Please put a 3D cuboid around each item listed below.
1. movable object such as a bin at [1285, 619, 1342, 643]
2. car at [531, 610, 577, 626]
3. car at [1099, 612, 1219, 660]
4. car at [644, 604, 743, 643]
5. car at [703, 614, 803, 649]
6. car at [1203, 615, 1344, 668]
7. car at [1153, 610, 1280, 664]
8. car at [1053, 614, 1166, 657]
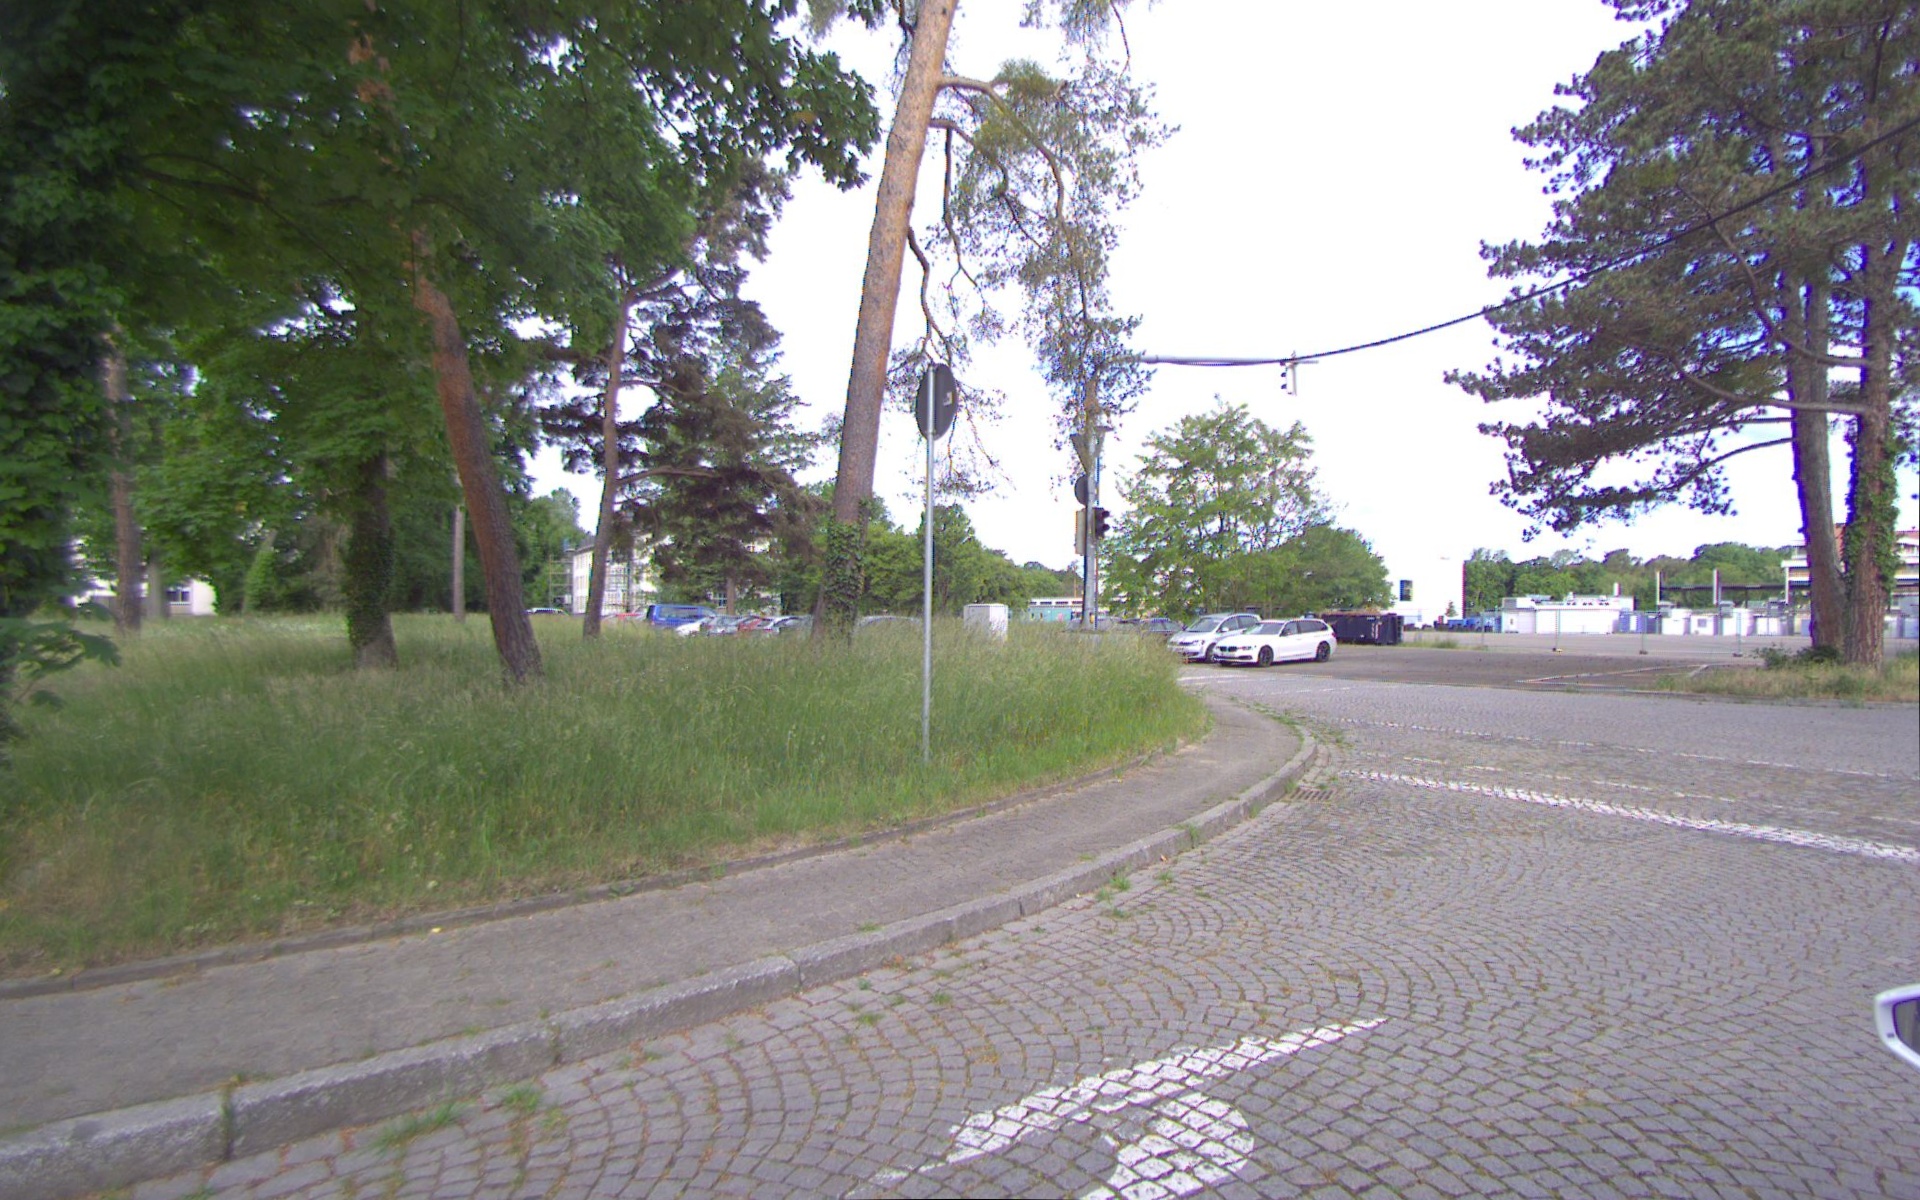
[{"bbox_3d":[16.367,1.435,46.479,2.632,1.062,1.170,1,-1,-35],"label":"movable object such as a bin"},{"bbox_3d":[-51.053,2.278,126.315,5.104,2.040,1.984,1,-1,-31],"label":"car"},{"bbox_3d":[7.306,1.264,36.788,4.280,1.522,1.843,-2,1,-34],"label":"car"},{"bbox_3d":[-14.143,1.219,53.412,4.737,2.007,1.982,0,0,-30],"label":"car"},{"bbox_3d":[-9.017,1.364,43.750,3.952,1.457,1.678,1,-1,-30],"label":"car"},{"bbox_3d":[10.142,1.286,32.376,4.689,1.461,1.799,-1,1,-33],"label":"car"},{"bbox_3d":[8.837,1.231,34.494,4.280,1.605,1.810,-2,1,-34],"label":"car"},{"bbox_3d":[5.846,1.365,39.022,4.281,1.587,1.782,1,-1,-34],"label":"car"}]
